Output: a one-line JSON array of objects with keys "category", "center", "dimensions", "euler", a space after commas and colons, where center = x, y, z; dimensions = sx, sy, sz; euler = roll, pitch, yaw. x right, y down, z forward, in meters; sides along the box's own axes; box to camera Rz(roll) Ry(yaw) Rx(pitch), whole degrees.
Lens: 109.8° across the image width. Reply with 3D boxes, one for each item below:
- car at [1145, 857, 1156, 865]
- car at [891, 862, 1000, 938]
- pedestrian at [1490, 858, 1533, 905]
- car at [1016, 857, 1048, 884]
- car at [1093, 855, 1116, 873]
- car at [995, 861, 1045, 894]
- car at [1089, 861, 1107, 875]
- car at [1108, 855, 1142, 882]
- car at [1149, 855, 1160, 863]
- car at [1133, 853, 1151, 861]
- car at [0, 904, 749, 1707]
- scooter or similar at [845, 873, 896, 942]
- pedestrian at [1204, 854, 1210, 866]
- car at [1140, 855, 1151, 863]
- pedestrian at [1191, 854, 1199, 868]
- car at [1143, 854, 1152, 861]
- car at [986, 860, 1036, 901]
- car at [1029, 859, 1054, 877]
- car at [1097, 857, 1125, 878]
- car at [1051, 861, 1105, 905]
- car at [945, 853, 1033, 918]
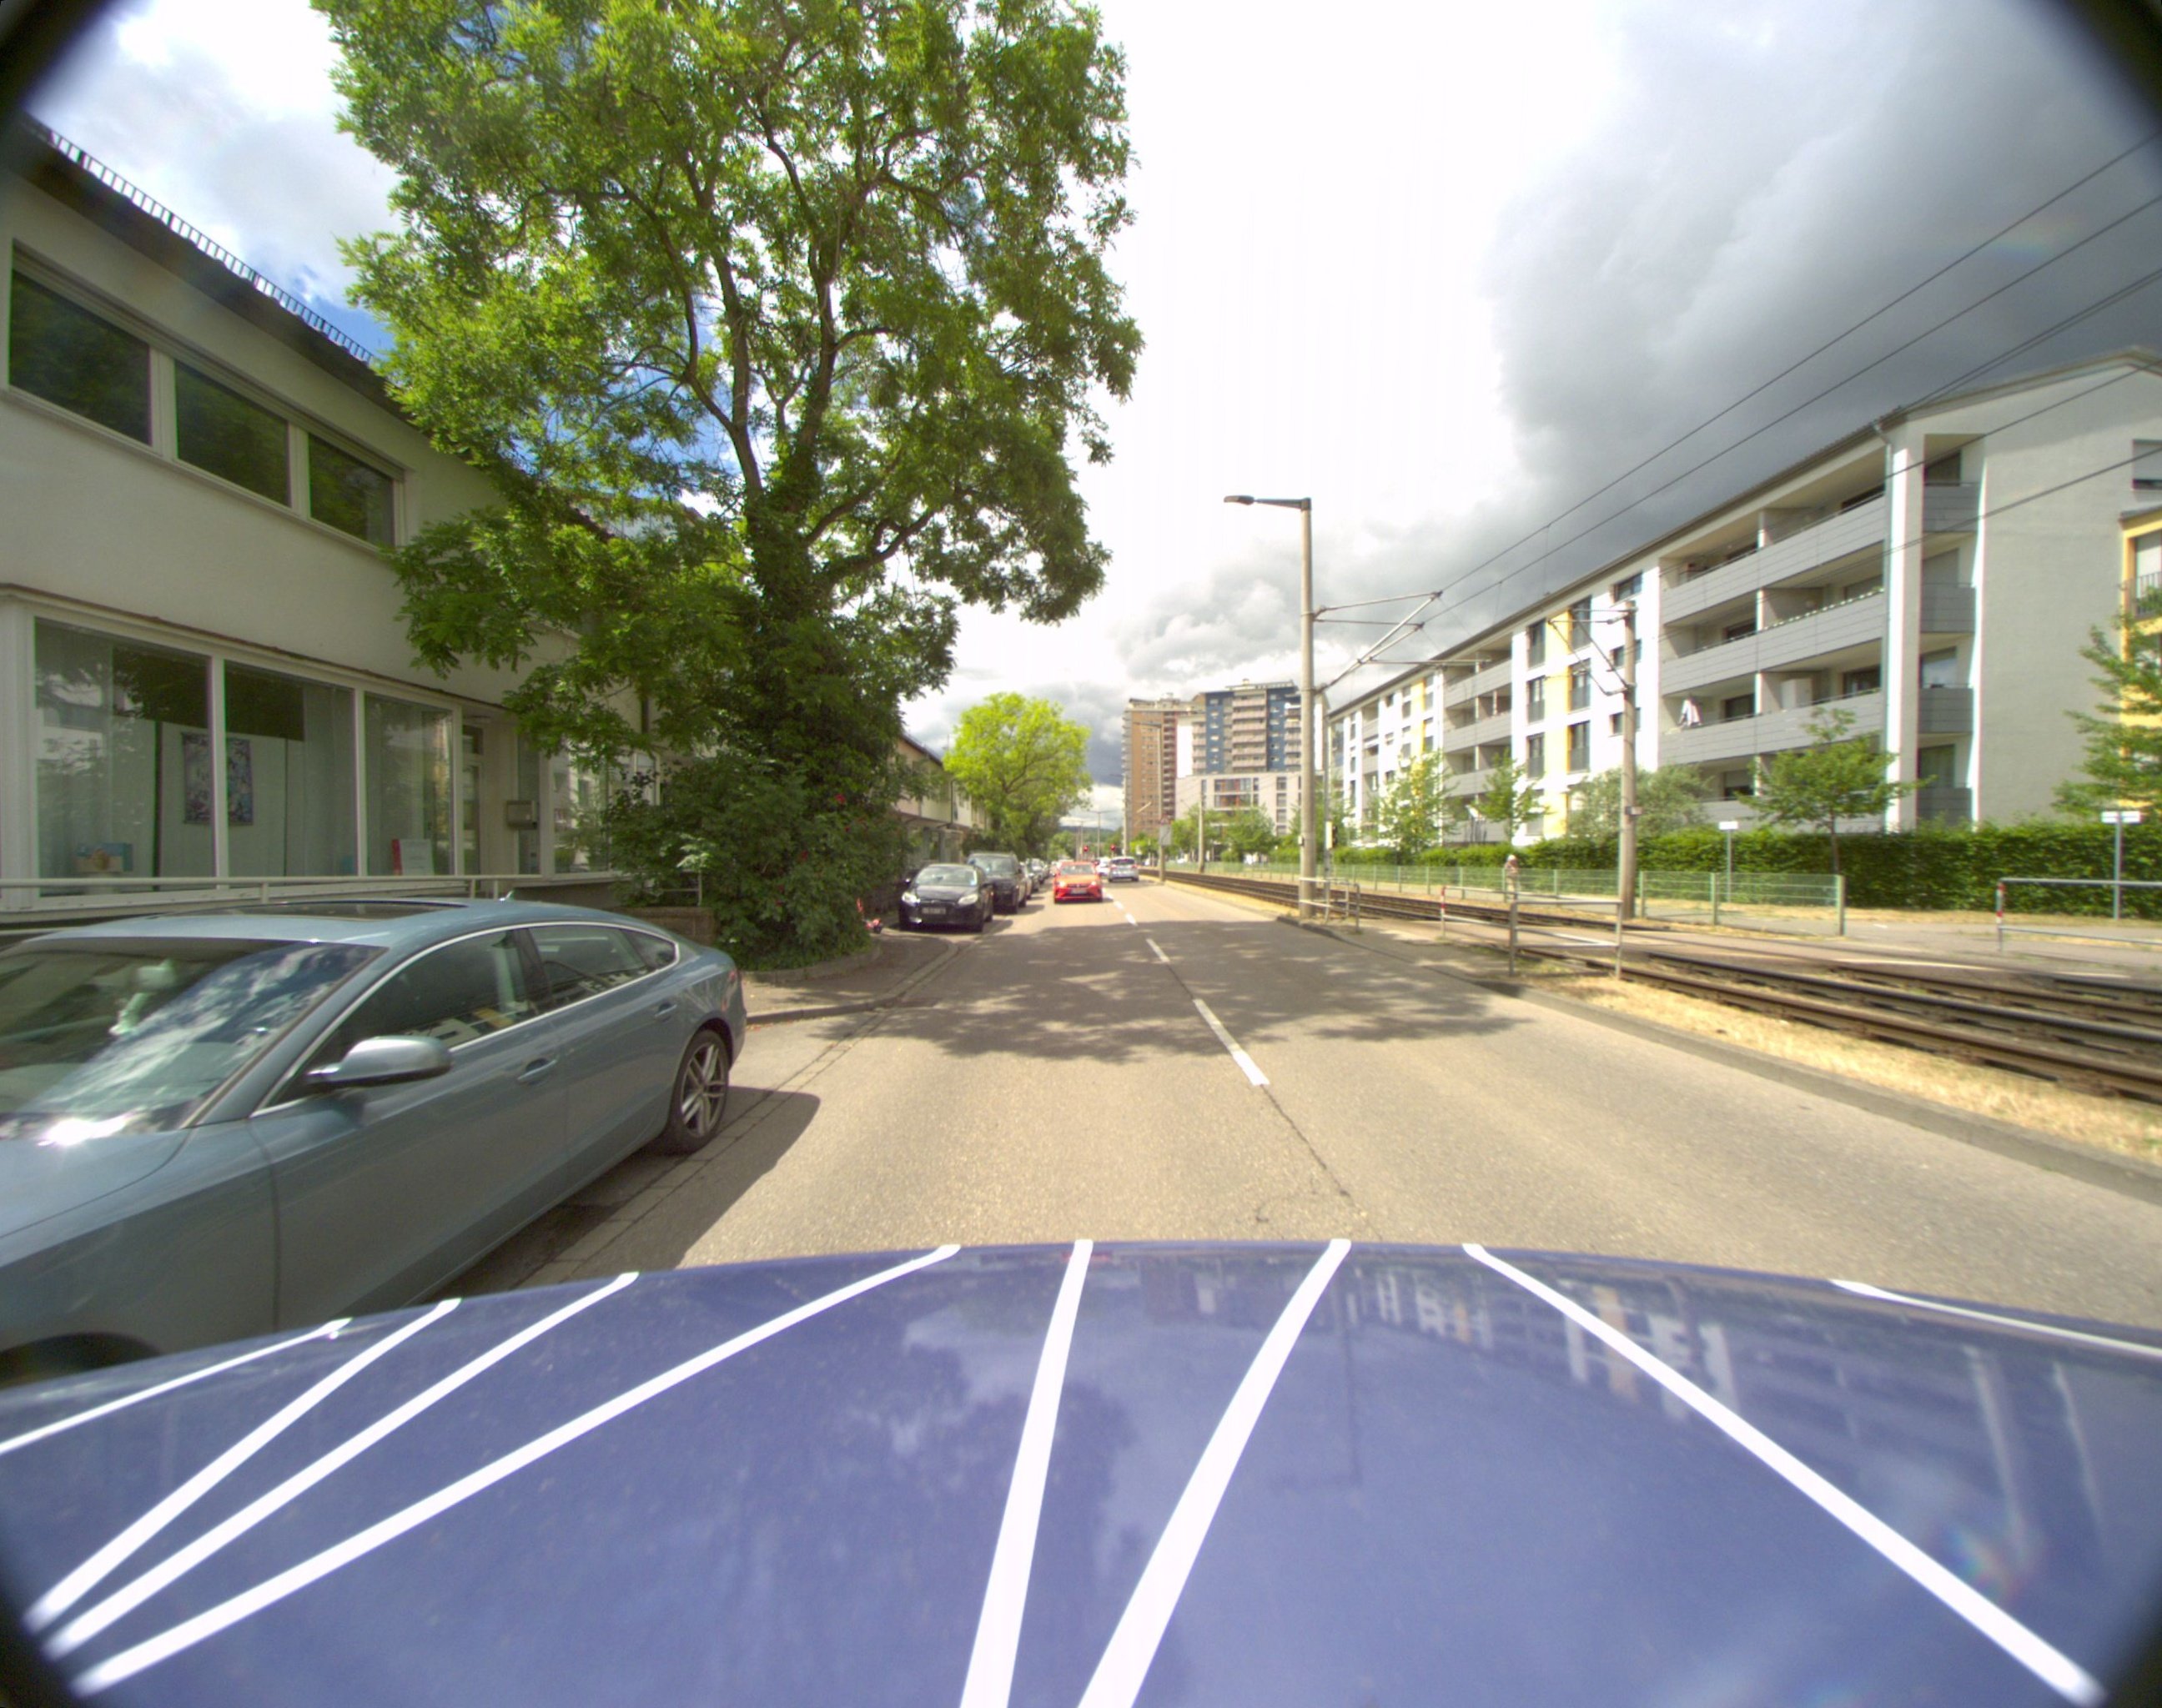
[{"category": "car", "center": [14.080, 1.475, 154.862], "dimensions": [1.781, 1.530, 3.803], "euler": [-1, 0, -2]}, {"category": "car", "center": [-2.987, 0.961, 17.617], "dimensions": [1.839, 1.497, 4.242], "euler": [0, 0, -1]}, {"category": "pedestrian", "center": [13.995, 0.882, 24.718], "dimensions": [0.798, 1.474, 0.995], "euler": [-1, 0, -1]}, {"category": "car", "center": [-3.082, 0.997, 48.370], "dimensions": [1.842, 1.634, 4.429], "euler": [-1, 0, -1]}, {"category": "car", "center": [2.302, 0.915, 74.498], "dimensions": [1.862, 1.680, 4.432], "euler": [-1, 0, -3]}, {"category": "car", "center": [-2.805, 1.063, 35.779], "dimensions": [1.775, 1.341, 4.001], "euler": [2, 0, 3]}, {"category": "car", "center": [1.827, 1.476, 83.082], "dimensions": [1.815, 1.437, 4.464], "euler": [-1, 0, -1]}, {"category": "car", "center": [2.795, 0.911, 49.353], "dimensions": [1.822, 1.604, 4.601], "euler": [-2, 0, -1]}, {"category": "car", "center": [14.338, 1.014, 148.505], "dimensions": [1.781, 1.530, 3.803], "euler": [-1, 0, -2]}, {"category": "car", "center": [14.921, 0.779, 186.055], "dimensions": [4.506, 1.914, 1.877], "euler": [-1, 0, -42]}, {"category": "car", "center": [-2.894, 1.030, 2.450], "dimensions": [1.760, 1.434, 4.493], "euler": [0, 0, -1]}, {"category": "scooter or similar", "center": [-4.030, 0.984, 14.478], "dimensions": [0.537, 1.235, 1.233], "euler": [1, -1, -36]}, {"category": "pedestrian", "center": [18.501, 0.884, 111.551], "dimensions": [0.749, 1.644, 0.538], "euler": [-1, 1, -1]}, {"category": "car", "center": [13.692, 1.067, 161.600], "dimensions": [1.781, 1.530, 3.803], "euler": [-1, 0, -2]}, {"category": "pedestrian", "center": [13.452, 0.779, 89.639], "dimensions": [0.756, 1.603, 0.937], "euler": [-1, 0, -2]}, {"category": "car", "center": [15.873, 0.826, 181.698], "dimensions": [1.781, 1.650, 3.803], "euler": [-1, 0, -2]}, {"category": "car", "center": [-2.743, 1.017, 30.485], "dimensions": [1.776, 1.434, 3.898], "euler": [2, 0, -2]}, {"category": "car", "center": [-3.365, 1.156, 65.138], "dimensions": [1.818, 1.455, 4.041], "euler": [-1, 0, 1]}, {"category": "car", "center": [2.257, 1.025, 58.505], "dimensions": [1.822, 1.494, 4.836], "euler": [-2, 0, -2]}, {"category": "car", "center": [-0.102, 0.992, 27.833], "dimensions": [1.792, 1.387, 4.241], "euler": [-2, 0, 0]}, {"category": "car", "center": [-2.715, 0.871, 23.667], "dimensions": [2.020, 1.778, 5.076], "euler": [0, 0, 1]}]
